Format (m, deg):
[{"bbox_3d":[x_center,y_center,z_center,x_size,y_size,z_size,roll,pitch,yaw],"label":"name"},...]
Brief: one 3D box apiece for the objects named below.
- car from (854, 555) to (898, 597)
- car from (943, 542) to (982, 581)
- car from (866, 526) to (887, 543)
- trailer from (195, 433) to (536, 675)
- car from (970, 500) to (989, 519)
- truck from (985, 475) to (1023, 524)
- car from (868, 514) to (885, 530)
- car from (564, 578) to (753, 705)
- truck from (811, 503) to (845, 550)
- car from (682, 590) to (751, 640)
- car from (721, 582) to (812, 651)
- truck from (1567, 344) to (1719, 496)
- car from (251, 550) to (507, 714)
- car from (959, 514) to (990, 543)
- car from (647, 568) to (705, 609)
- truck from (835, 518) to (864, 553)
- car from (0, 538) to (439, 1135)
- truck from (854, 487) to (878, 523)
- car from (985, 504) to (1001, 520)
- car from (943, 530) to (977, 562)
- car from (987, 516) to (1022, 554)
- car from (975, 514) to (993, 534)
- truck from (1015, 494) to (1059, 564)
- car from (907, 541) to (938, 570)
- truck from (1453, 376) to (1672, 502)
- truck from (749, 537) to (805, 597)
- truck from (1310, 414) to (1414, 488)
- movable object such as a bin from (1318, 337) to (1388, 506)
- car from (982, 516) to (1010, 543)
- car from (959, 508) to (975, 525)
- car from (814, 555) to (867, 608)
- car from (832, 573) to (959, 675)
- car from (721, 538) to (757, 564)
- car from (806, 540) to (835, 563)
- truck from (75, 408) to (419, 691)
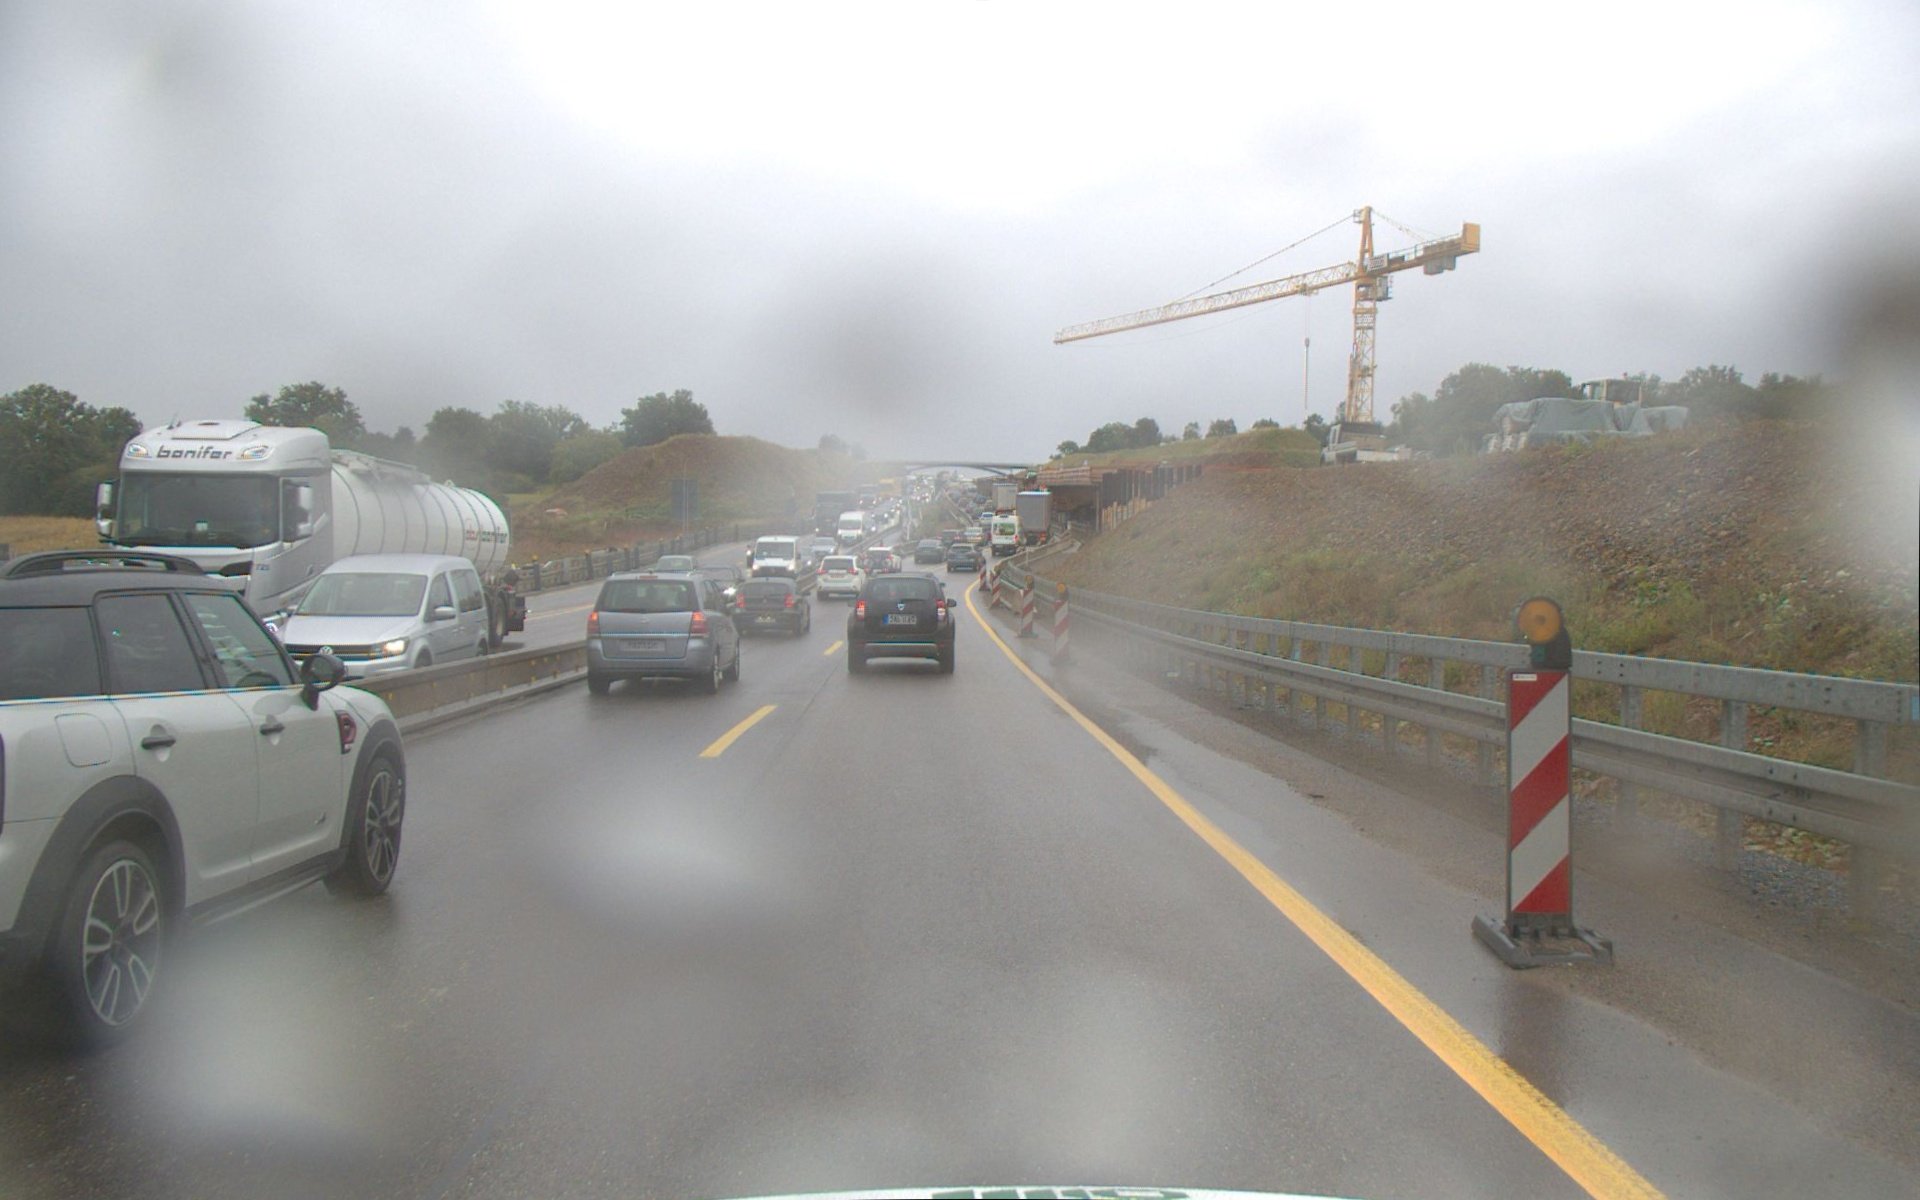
[{"bbox_3d":[-4.471,-1.277,88.435,1.952,2.200,4.142,0,0,3],"label":"car"},{"bbox_3d":[0.178,-2.248,96.814,1.951,2.200,4.143,0,0,4],"label":"car"},{"bbox_3d":[-7.594,-5.973,150.026,1.831,1.496,4.670,0,2,-2],"label":"car"},{"bbox_3d":[-10.731,-0.759,31.593,2.567,3.742,11.999,0,0,-2],"label":"trailer"},{"bbox_3d":[2.207,-10.357,189.056,1.953,2.048,4.000,-1,2,-2],"label":"car"},{"bbox_3d":[5.218,-11.959,198.583,3.727,5.130,12.917,0,0,-2],"label":"truck"},{"bbox_3d":[-9.175,-8.551,182.203,1.702,1.713,5.552,1,3,-1],"label":"car"},{"bbox_3d":[-4.142,0.522,23.371,1.953,1.628,4.140,0,0,-1],"label":"car"},{"bbox_3d":[-11.666,-6.539,146.903,2.588,4.038,9.212,0,3,-2],"label":"truck"},{"bbox_3d":[-8.062,0.469,55.190,1.737,1.530,4.678,0,1,-2],"label":"car"},{"bbox_3d":[-4.766,0.389,41.204,1.954,1.628,4.138,0,0,-3],"label":"car"},{"bbox_3d":[22.076,-5.712,53.764,2.325,4.292,5.977,0,0,-2],"label":"truck"},{"bbox_3d":[-7.078,0.343,20.616,1.828,1.831,4.161,0,0,-2],"label":"car"},{"bbox_3d":[1.179,-5.701,132.212,1.951,2.200,4.144,0,0,7],"label":"car"},{"bbox_3d":[-11.464,-0.499,67.018,1.752,1.573,3.999,0,1,-2],"label":"car"},{"bbox_3d":[-8.843,-5.156,133.219,2.104,2.760,6.015,0,2,-2],"label":"truck"},{"bbox_3d":[-3.580,0.609,6.591,1.779,1.628,4.306,0,1,-2],"label":"car"},{"bbox_3d":[-13.633,-13.820,241.390,3.020,5.004,8.565,1,2,0],"label":"truck"},{"bbox_3d":[4.618,-12.374,233.130,1.953,2.049,3.998,0,0,-2],"label":"car"},{"bbox_3d":[0.010,-3.917,119.980,1.951,2.200,4.144,0,0,8],"label":"car"},{"bbox_3d":[3.235,-4.640,118.394,1.951,2.527,4.986,0,0,8],"label":"car"},{"bbox_3d":[2.493,-7.966,173.648,1.812,1.927,4.021,0,0,0],"label":"car"},{"bbox_3d":[6.459,-5.794,137.508,3.036,5.521,9.450,0,0,6],"label":"truck"},{"bbox_3d":[-2.404,-2.888,107.673,1.953,1.792,3.814,0,0,0],"label":"car"},{"bbox_3d":[17.688,-4.630,49.364,3.325,2.925,8.960,0,0,0],"label":"truck"},{"bbox_3d":[-8.294,-1.464,75.329,2.037,2.621,5.960,0,0,-2],"label":"truck"},{"bbox_3d":[17.325,-6.396,71.759,2.592,2.599,6.982,0,0,-2],"label":"truck"},{"bbox_3d":[28.293,-12.594,119.305,4.617,11.031,10.312,0,0,13],"label":"movable object such as a bin"},{"bbox_3d":[3.109,-6.054,142.285,1.951,2.200,4.144,0,0,9],"label":"car"},{"bbox_3d":[0.845,-10.709,212.511,1.953,2.048,4.000,-1,2,-2],"label":"car"},{"bbox_3d":[-4.733,-0.727,65.827,1.953,2.049,3.892,0,0,-2],"label":"car"},{"bbox_3d":[-1.058,0.378,28.638,2.039,1.628,4.140,0,0,-1],"label":"car"},{"bbox_3d":[-13.652,-3.040,102.408,1.750,1.565,4.311,0,1,-1],"label":"car"},{"bbox_3d":[-9.296,-3.234,110.335,1.643,1.550,4.344,0,2,-2],"label":"car"},{"bbox_3d":[-10.517,-0.691,25.214,2.567,3.742,6.593,0,0,-2],"label":"truck"}]
